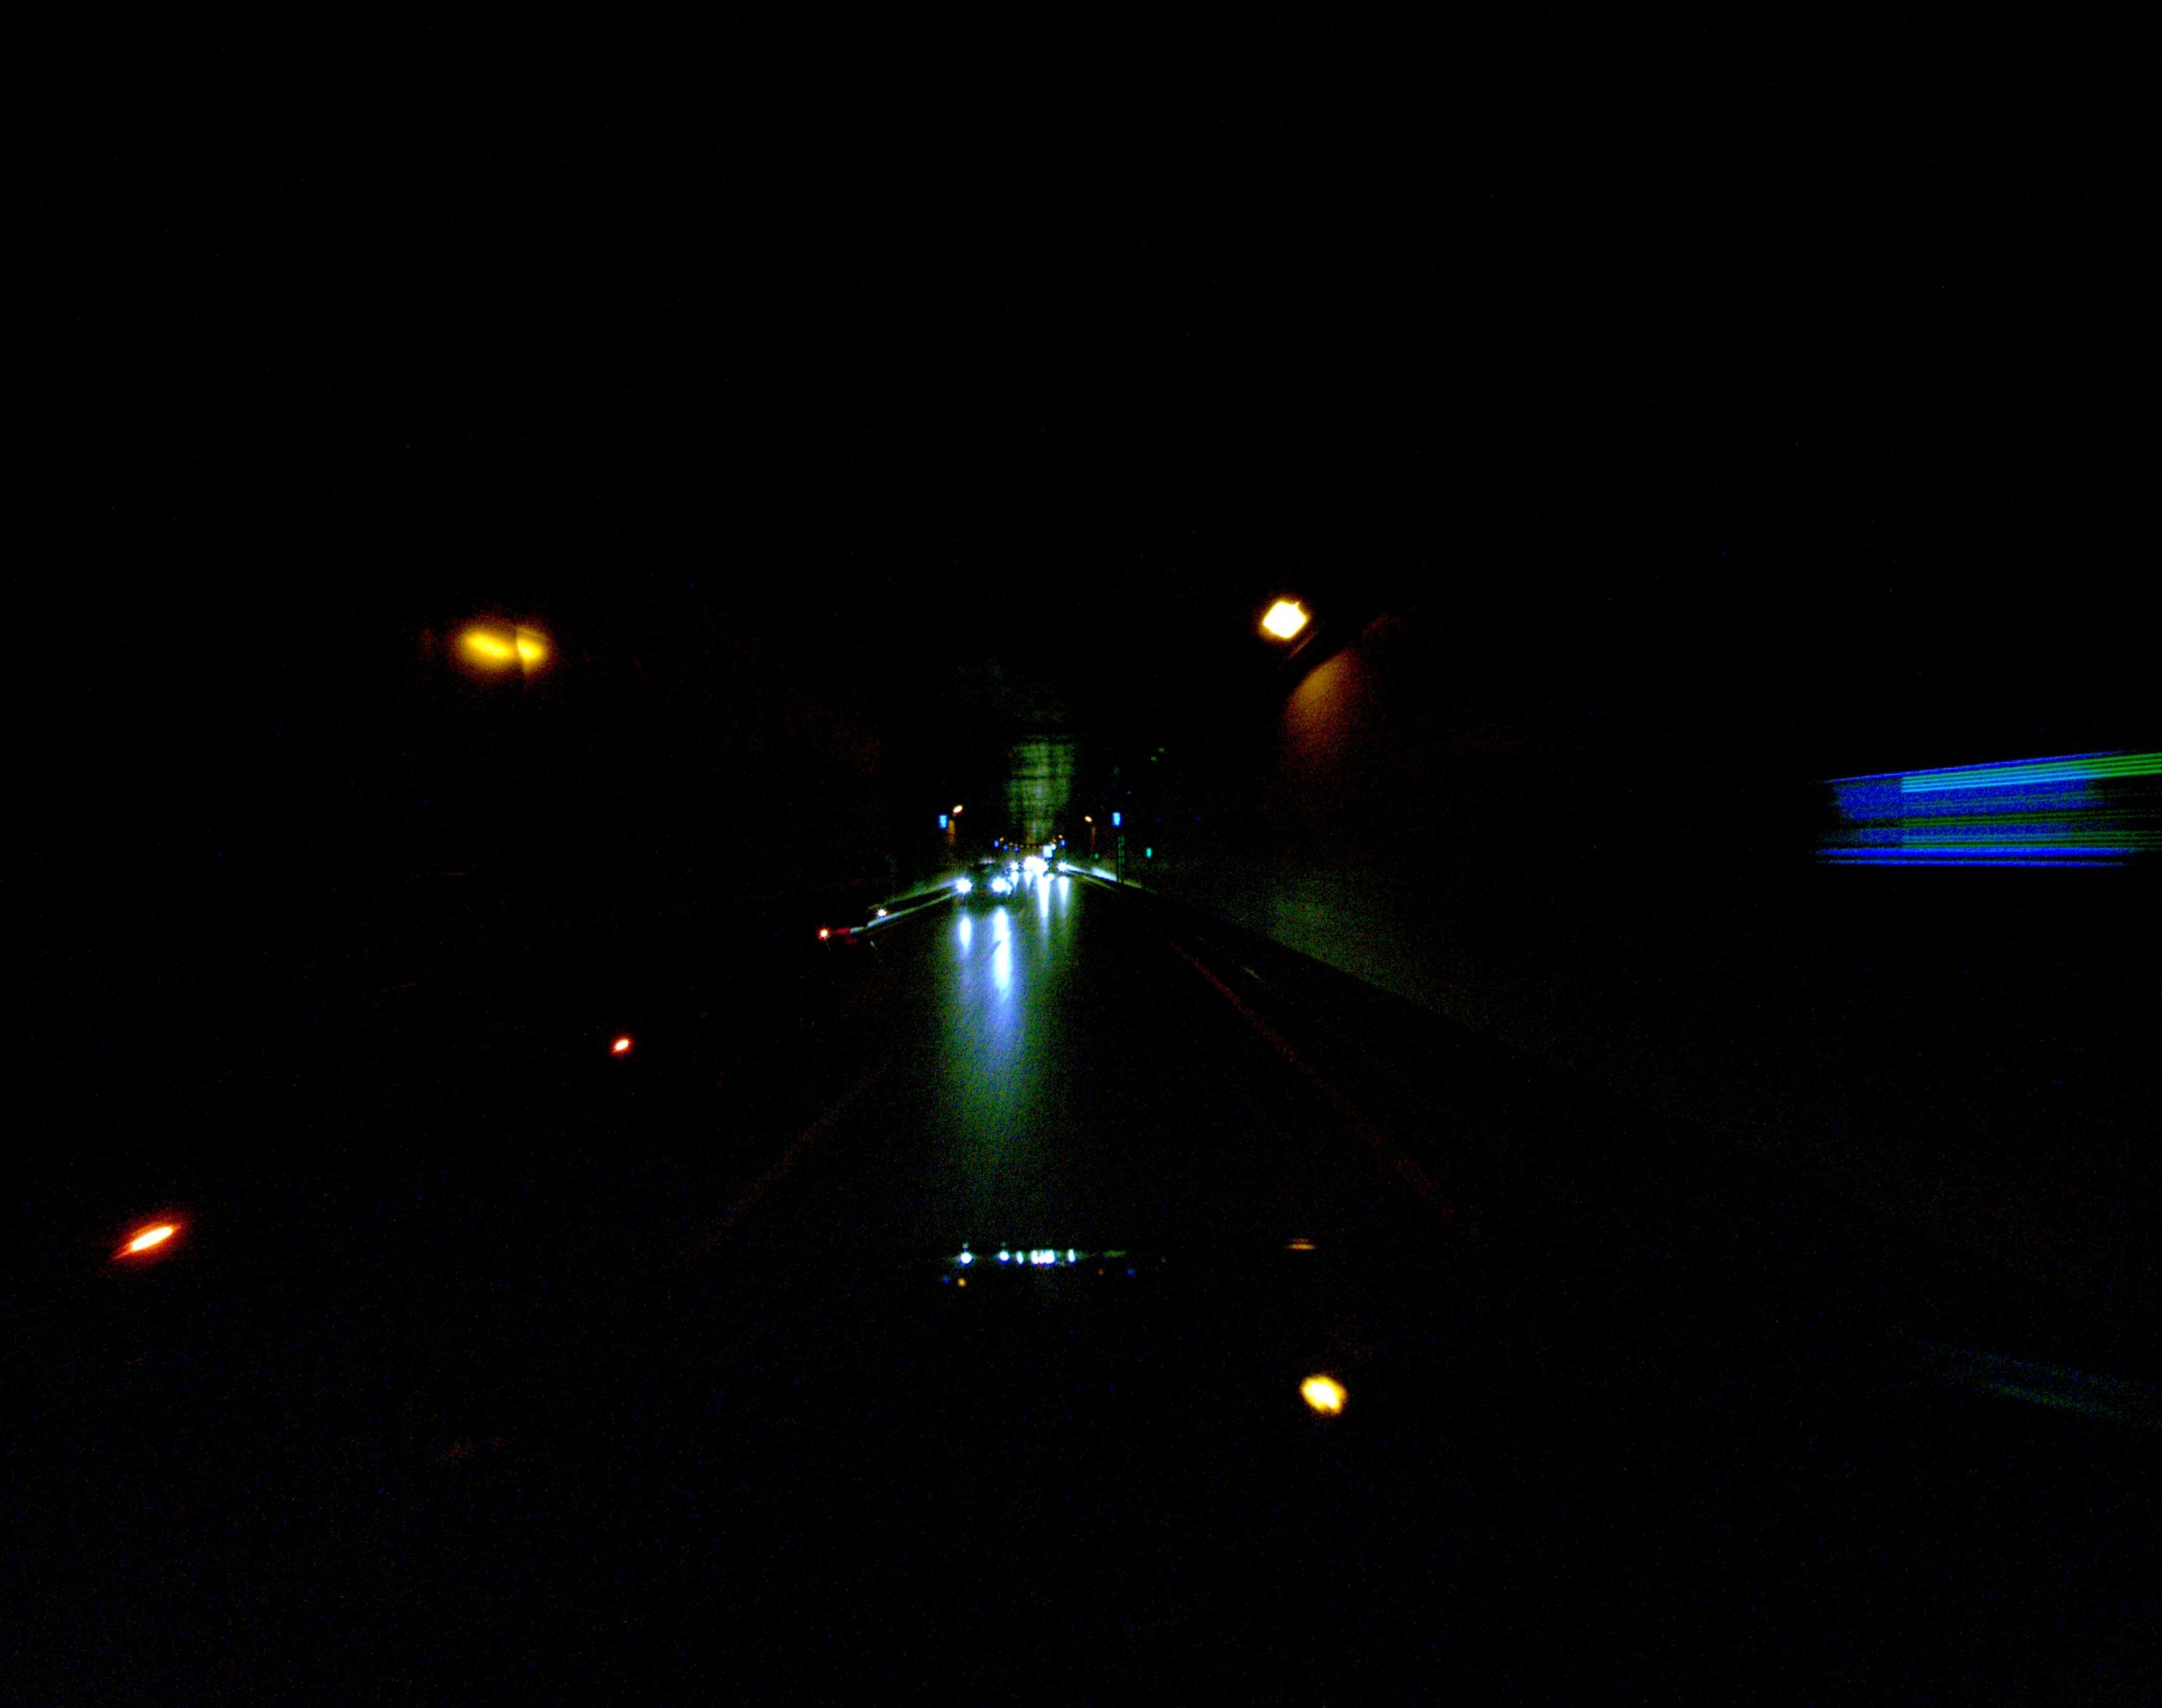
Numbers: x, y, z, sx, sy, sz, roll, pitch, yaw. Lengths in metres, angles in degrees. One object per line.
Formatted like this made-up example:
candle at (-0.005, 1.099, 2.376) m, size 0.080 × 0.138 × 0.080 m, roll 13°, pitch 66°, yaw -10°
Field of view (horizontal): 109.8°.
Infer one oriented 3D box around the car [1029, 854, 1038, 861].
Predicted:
car at (-11.819, 0.870, 190.349) m, size 1.999 × 1.674 × 3.999 m, roll -1°, pitch 1°, yaw -1°

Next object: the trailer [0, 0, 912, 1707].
trailer at (-3.383, -0.229, 4.080) m, size 2.882 × 3.836 × 8.947 m, roll -1°, pitch 0°, yaw 0°

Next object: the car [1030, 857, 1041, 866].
car at (-8.232, 1.375, 137.895) m, size 1.999 × 1.576 × 4.649 m, roll -1°, pitch 1°, yaw -3°

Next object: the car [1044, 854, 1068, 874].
car at (-2.005, 0.788, 61.960) m, size 1.820 × 1.589 × 3.999 m, roll 1°, pitch 0°, yaw -1°

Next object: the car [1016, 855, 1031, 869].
car at (-6.766, 0.969, 89.995) m, size 1.736 × 1.565 × 3.998 m, roll -2°, pitch 0°, yaw -4°

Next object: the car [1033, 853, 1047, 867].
car at (-5.507, 0.749, 101.381) m, size 1.715 × 1.729 × 3.997 m, roll -1°, pitch 2°, yaw -4°

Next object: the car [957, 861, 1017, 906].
car at (-3.410, 1.034, 28.283) m, size 1.735 × 1.395 × 3.798 m, roll -3°, pitch 1°, yaw -1°
